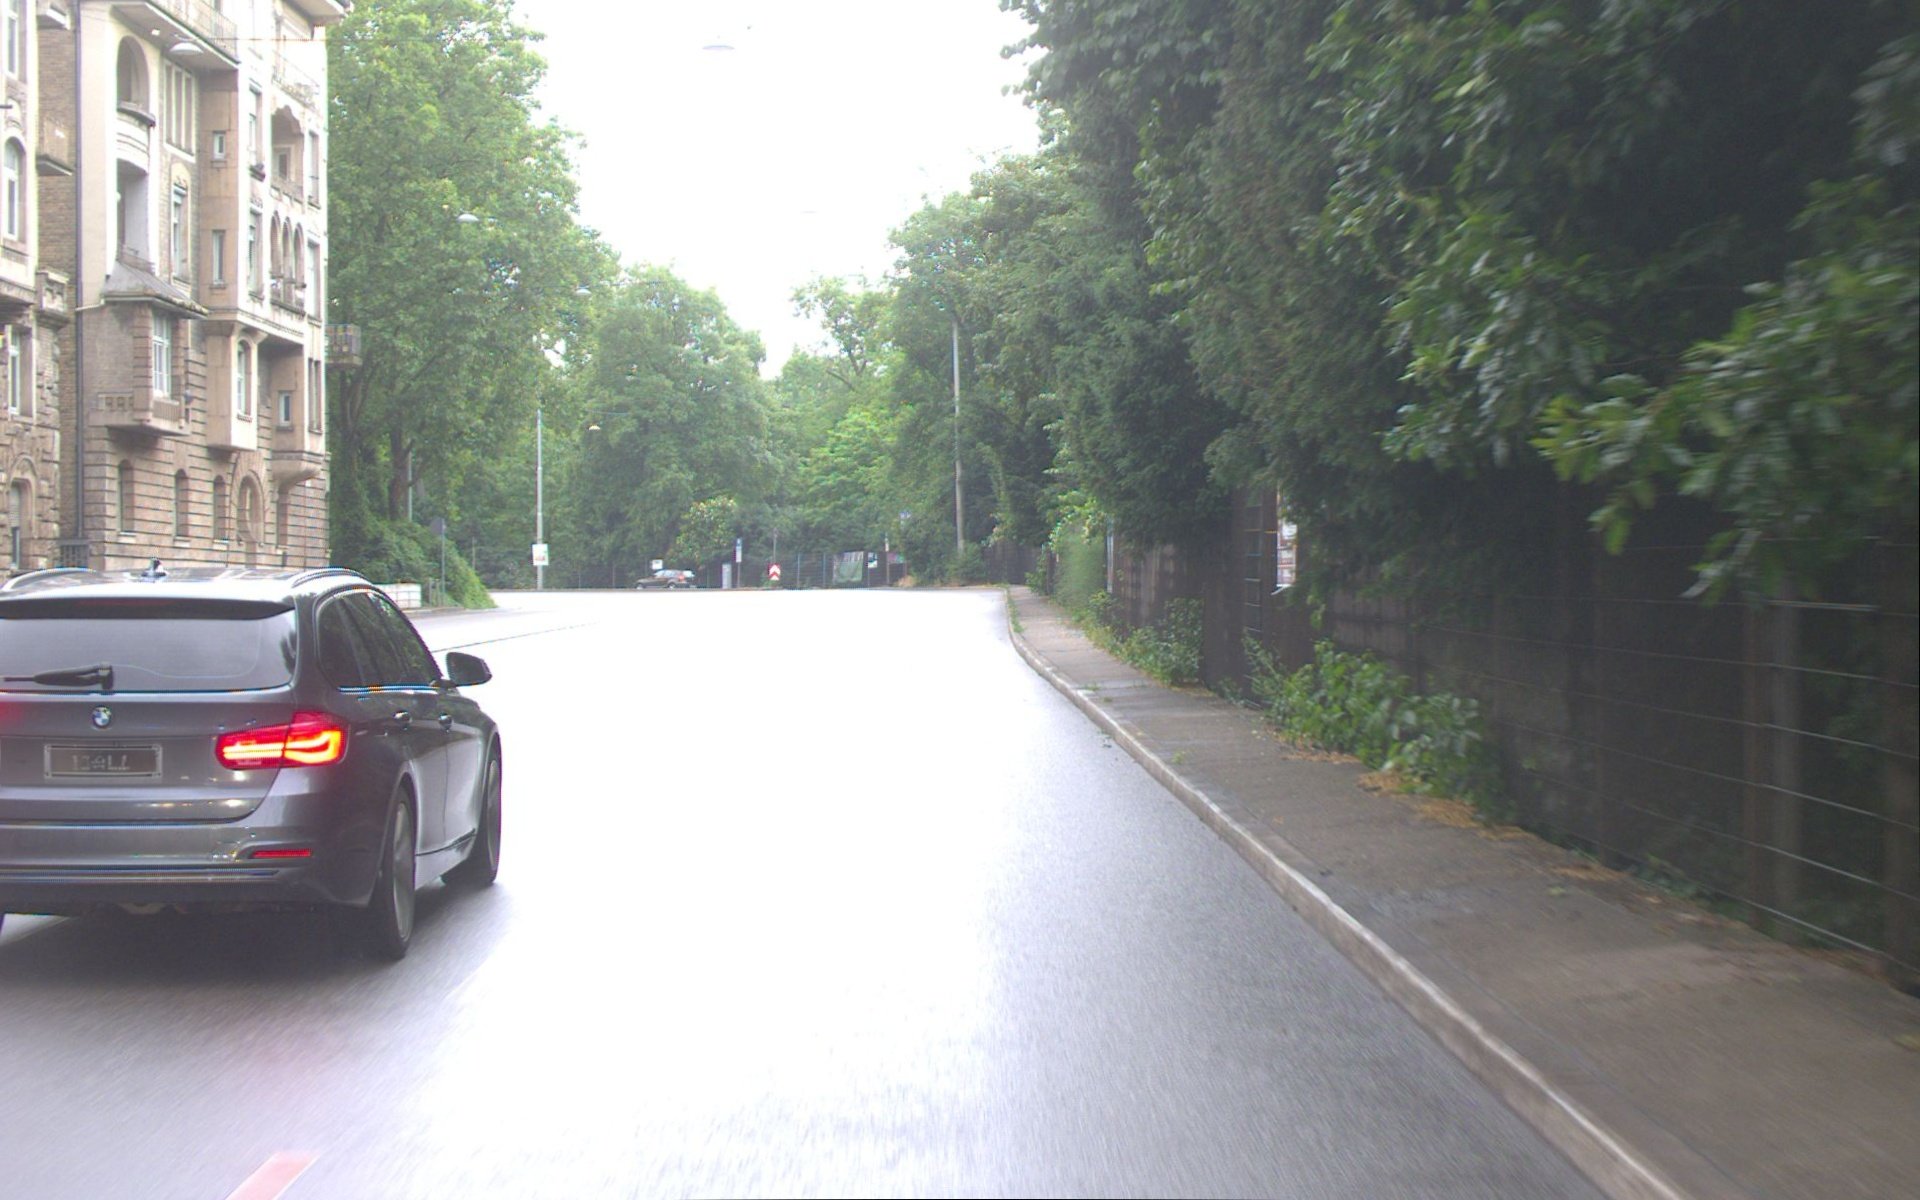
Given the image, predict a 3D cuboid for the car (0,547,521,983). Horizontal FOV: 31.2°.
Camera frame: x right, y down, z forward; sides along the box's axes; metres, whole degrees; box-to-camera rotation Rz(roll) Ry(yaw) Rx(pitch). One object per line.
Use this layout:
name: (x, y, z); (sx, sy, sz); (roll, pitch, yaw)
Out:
car: (-2.905, 0.524, 13.718); (1.757, 1.427, 4.413); (1, 1, -1)

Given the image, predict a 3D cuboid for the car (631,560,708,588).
car: (-15.908, -1.408, 188.412); (4.368, 1.422, 1.688); (0, -2, 44)
